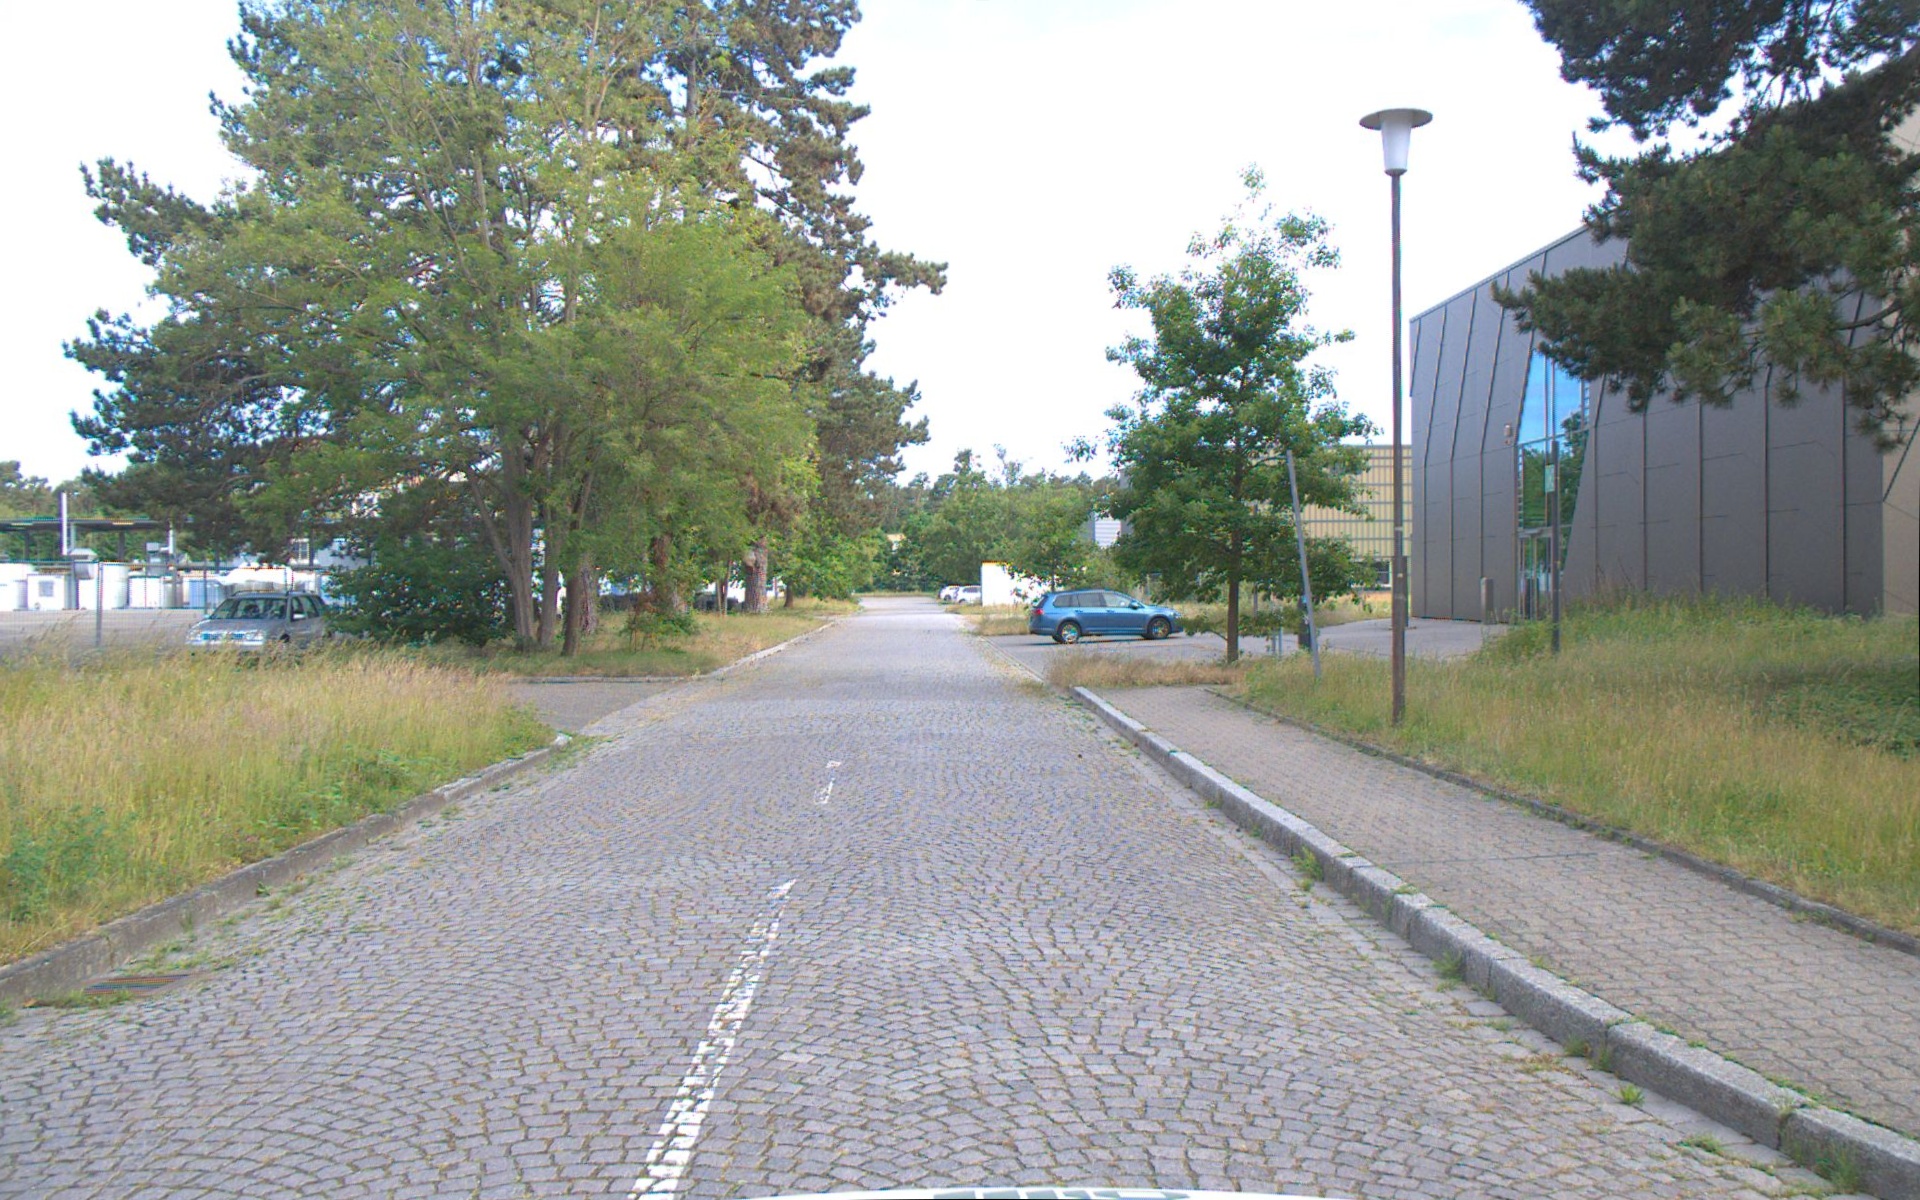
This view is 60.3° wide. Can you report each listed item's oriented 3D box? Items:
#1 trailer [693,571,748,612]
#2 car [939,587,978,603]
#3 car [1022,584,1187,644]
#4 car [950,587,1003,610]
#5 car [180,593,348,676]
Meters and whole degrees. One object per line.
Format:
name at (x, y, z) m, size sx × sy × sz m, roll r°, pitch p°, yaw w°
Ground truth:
trailer at (-19.166, -0.679, 132.890) m, size 3.094 × 3.121 × 8.784 m, roll -1°, pitch 0°, yaw 0°
car at (-0.178, -0.517, 167.130) m, size 3.943 × 1.528 × 1.548 m, roll -1°, pitch 0°, yaw -1°
car at (4.132, 0.378, 47.551) m, size 4.434 × 1.468 × 1.821 m, roll -3°, pitch 1°, yaw -6°
car at (1.189, -0.110, 121.014) m, size 3.774 × 1.683 × 1.685 m, roll -1°, pitch 0°, yaw -5°
car at (-13.501, 0.615, 32.374) m, size 1.681 × 1.463 × 4.463 m, roll -1°, pitch 1°, yaw -4°
